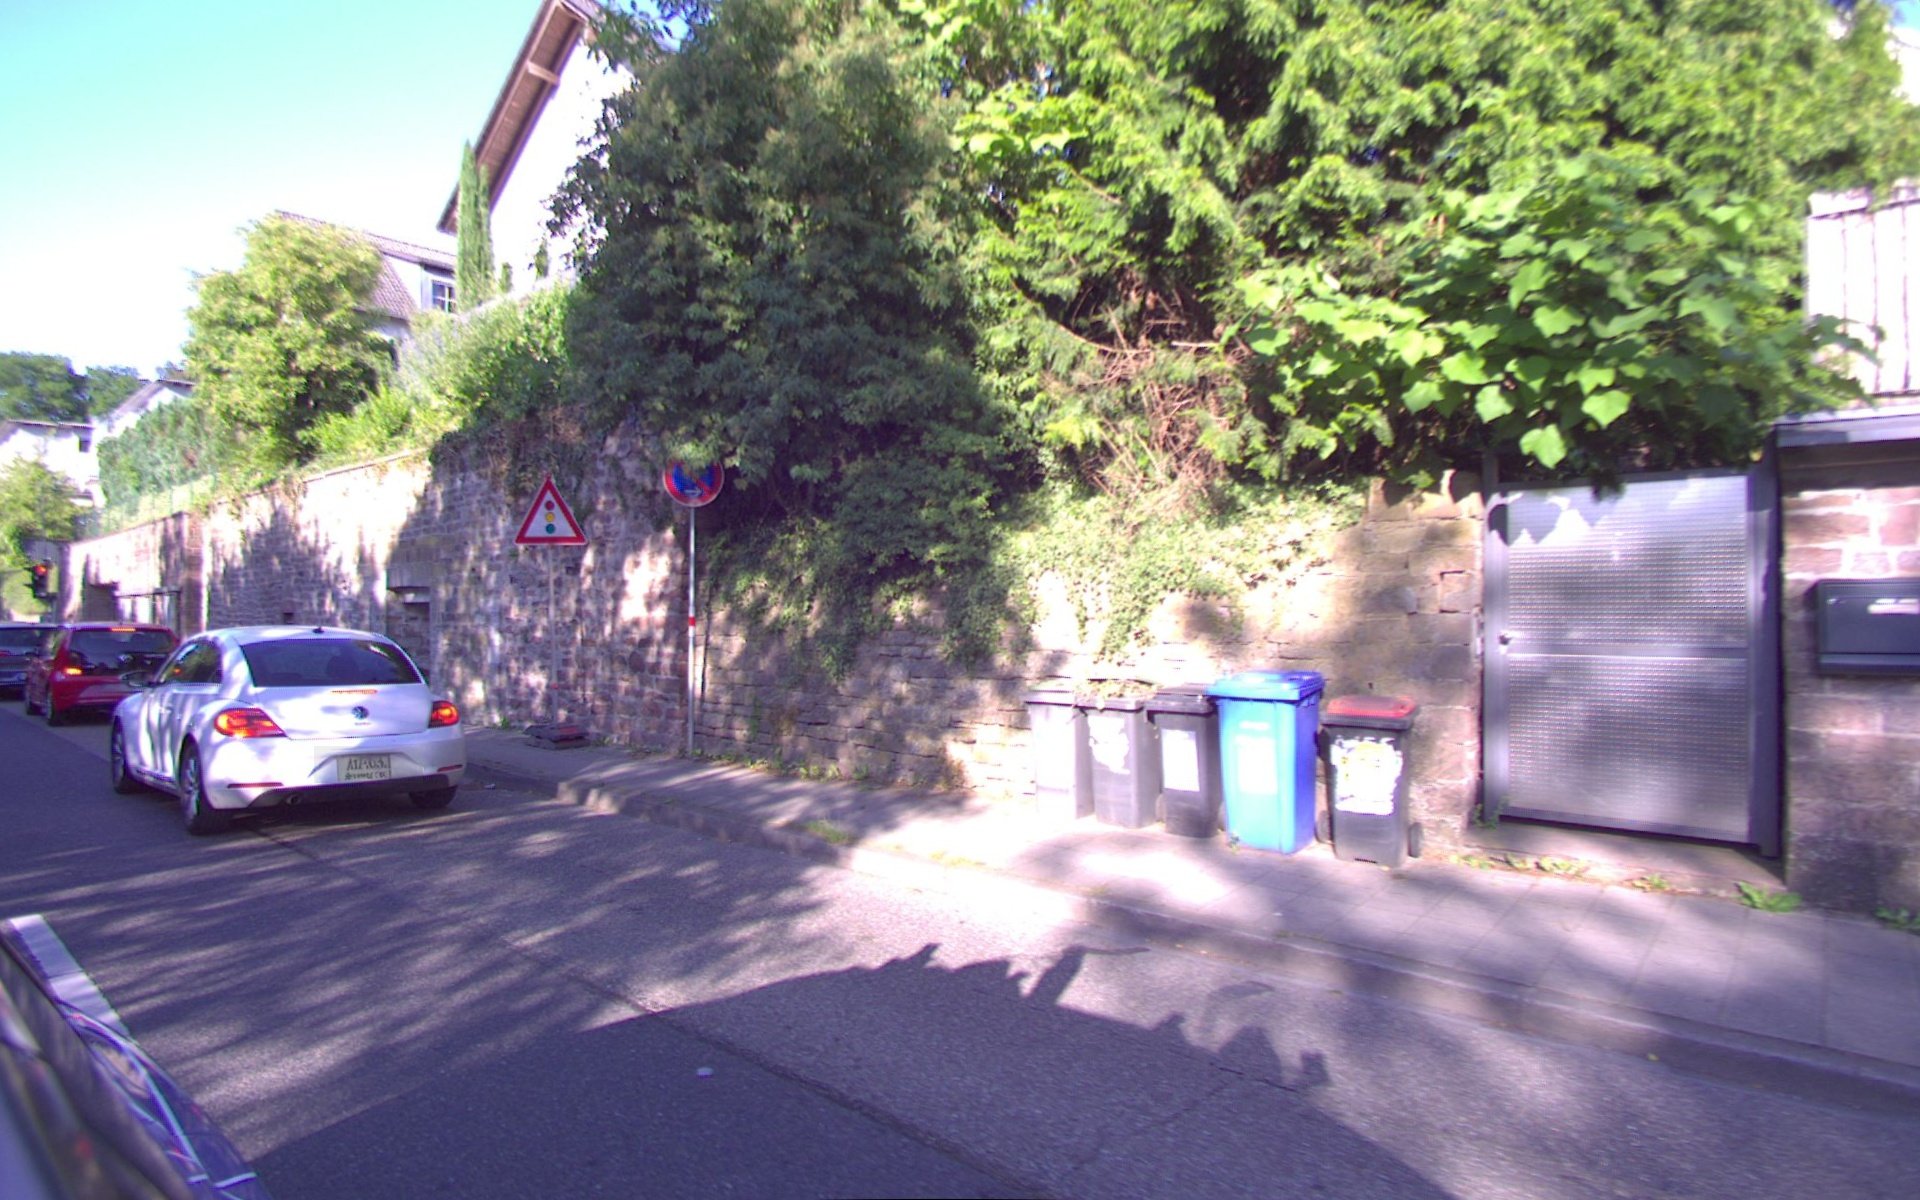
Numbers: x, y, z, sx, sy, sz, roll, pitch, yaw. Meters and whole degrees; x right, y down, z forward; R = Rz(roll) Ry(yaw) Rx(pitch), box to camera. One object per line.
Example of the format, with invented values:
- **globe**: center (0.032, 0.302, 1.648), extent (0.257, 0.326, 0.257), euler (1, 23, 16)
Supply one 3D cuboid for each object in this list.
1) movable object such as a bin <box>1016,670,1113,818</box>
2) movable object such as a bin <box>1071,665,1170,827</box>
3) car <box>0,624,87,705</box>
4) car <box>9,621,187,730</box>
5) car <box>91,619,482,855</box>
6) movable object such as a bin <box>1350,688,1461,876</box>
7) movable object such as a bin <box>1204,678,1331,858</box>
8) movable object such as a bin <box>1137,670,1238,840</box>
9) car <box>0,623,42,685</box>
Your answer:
- **movable object such as a bin**: center (0.743, 0.996, 7.186), extent (0.438, 0.944, 0.578), euler (0, 0, 39)
- **movable object such as a bin**: center (1.094, 0.965, 6.892), extent (0.438, 0.992, 0.567), euler (0, 0, 39)
- **car**: center (-18.314, 1.184, 19.513), extent (3.928, 1.422, 1.632), euler (-1, -2, 40)
- **car**: center (-13.248, 1.083, 15.499), extent (3.567, 1.477, 1.534), euler (-1, -3, 41)
- **car**: center (-5.712, 0.921, 8.389), extent (3.999, 1.486, 1.722), euler (-1, -3, 42)
- **movable object such as a bin**: center (2.532, 0.999, 5.740), extent (0.438, 0.932, 0.567), euler (-1, 0, 39)
- **movable object such as a bin**: center (1.860, 0.983, 6.121), extent (0.582, 0.971, 0.485), euler (-1, 0, 39)
- **movable object such as a bin**: center (1.490, 0.982, 6.603), extent (0.438, 0.992, 0.567), euler (0, 0, 39)
- **car**: center (-23.450, 1.257, 24.247), extent (3.559, 1.432, 1.611), euler (-1, -2, 39)
